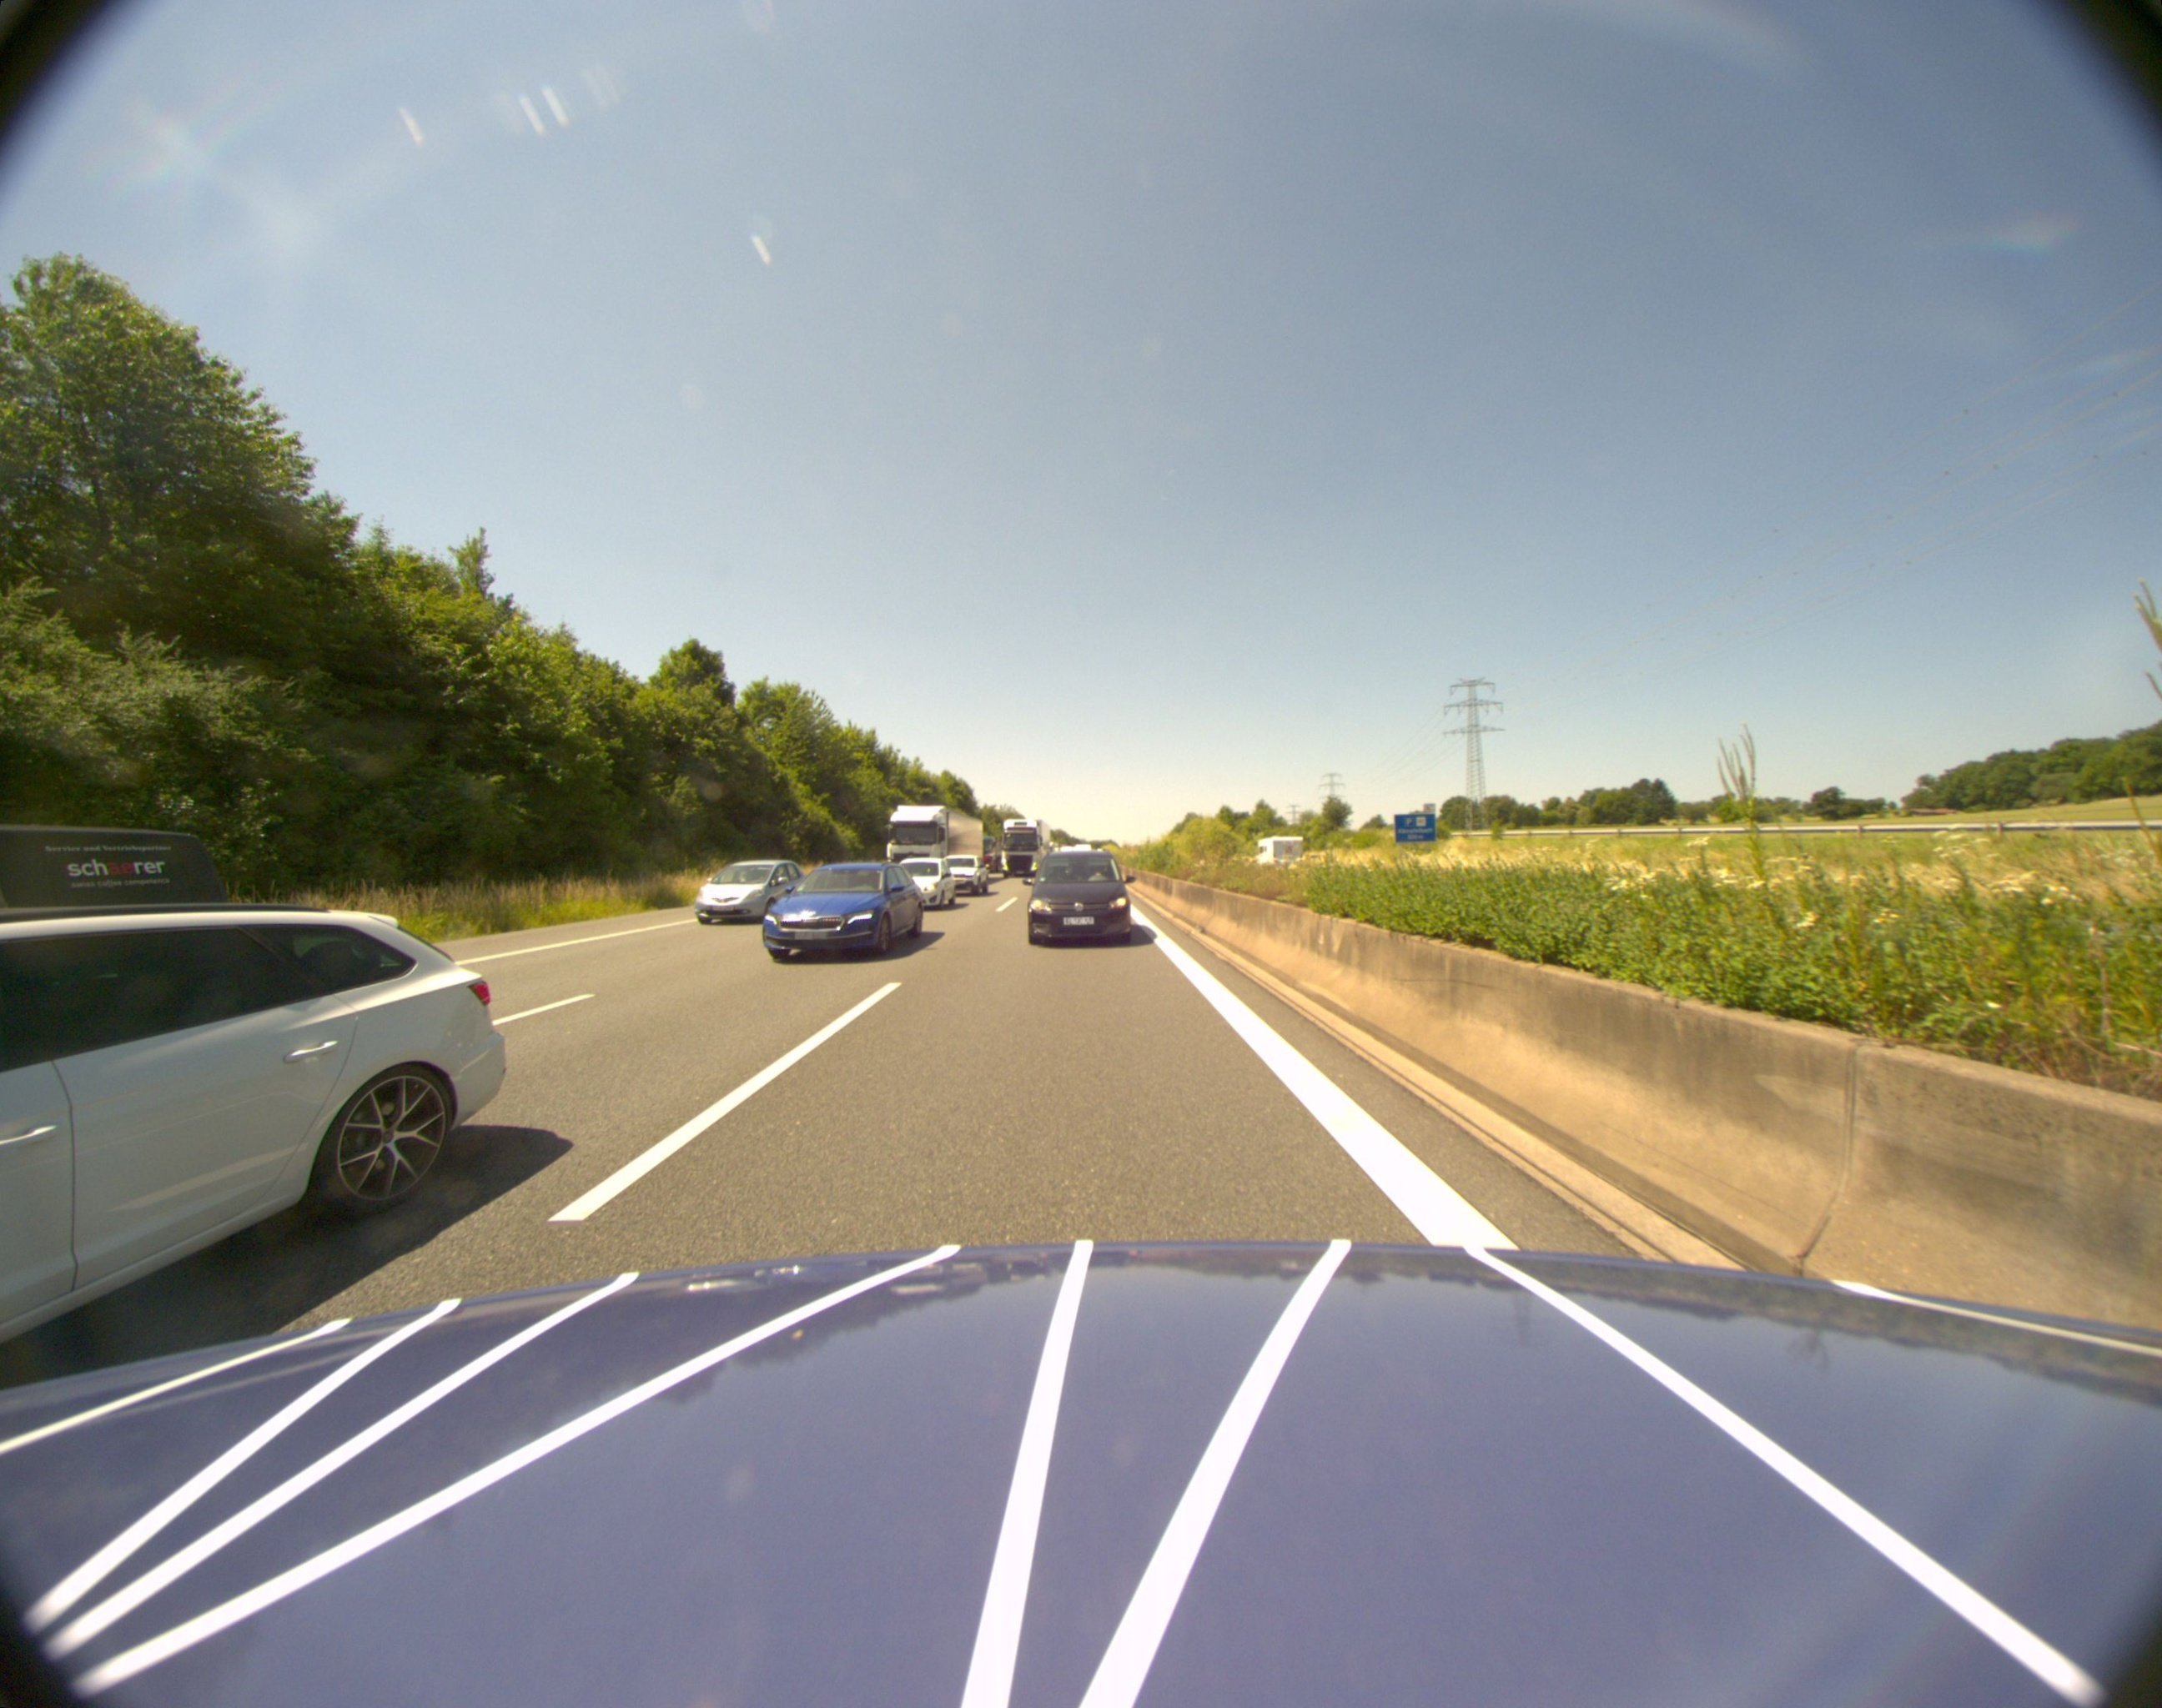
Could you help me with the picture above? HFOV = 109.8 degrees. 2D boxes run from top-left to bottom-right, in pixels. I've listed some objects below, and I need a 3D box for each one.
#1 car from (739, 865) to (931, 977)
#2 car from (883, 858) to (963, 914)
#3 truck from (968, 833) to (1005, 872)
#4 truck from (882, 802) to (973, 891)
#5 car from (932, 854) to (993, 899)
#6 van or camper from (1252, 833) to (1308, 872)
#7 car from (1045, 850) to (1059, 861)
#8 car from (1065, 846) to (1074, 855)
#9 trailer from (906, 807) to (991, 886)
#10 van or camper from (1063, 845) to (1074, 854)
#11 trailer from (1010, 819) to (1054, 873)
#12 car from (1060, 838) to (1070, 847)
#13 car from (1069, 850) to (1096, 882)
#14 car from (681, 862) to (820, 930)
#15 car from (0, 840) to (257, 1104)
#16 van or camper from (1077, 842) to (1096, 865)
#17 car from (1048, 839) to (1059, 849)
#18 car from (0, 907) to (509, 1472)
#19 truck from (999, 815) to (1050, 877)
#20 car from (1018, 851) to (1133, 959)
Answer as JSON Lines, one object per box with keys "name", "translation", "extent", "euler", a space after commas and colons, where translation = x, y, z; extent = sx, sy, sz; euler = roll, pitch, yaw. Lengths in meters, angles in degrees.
{"name": "car", "translation": [-3.911, 0.973, 12.987], "extent": [1.781, 1.408, 4.571], "euler": [-1, 1, 0]}
{"name": "car", "translation": [-4.601, 0.885, 22.617], "extent": [1.609, 1.426, 3.808], "euler": [-1, 1, -1]}
{"name": "truck", "translation": [-7.928, -0.146, 64.450], "extent": [2.300, 3.128, 5.674], "euler": [-2, 1, 1]}
{"name": "truck", "translation": [-7.926, -0.402, 40.437], "extent": [2.880, 4.133, 8.474], "euler": [-2, 1, 1]}
{"name": "car", "translation": [-4.524, 0.799, 29.449], "extent": [1.748, 1.549, 3.883], "euler": [-1, 1, 0]}
{"name": "van or camper", "translation": [15.639, -0.189, 60.209], "extent": [2.558, 2.822, 7.065], "euler": [-3, 1, 1]}
{"name": "car", "translation": [-3.864, 0.223, 101.486], "extent": [1.650, 1.336, 3.381], "euler": [-2, 1, 1]}
{"name": "car", "translation": [-2.210, -0.623, 148.134], "extent": [1.653, 1.636, 4.000], "euler": [-2, 1, 1]}
{"name": "trailer", "translation": [-7.822, -0.480, 46.829], "extent": [2.880, 4.133, 12.074], "euler": [-2, 1, 1]}
{"name": "van or camper", "translation": [-2.795, -1.004, 166.438], "extent": [2.190, 2.018, 4.363], "euler": [-2, 1, 1]}
{"name": "trailer", "translation": [-3.823, -0.673, 61.443], "extent": [2.776, 3.951, 9.155], "euler": [-2, 1, 1]}
{"name": "car", "translation": [-3.772, -2.661, 180.582], "extent": [1.998, 2.002, 3.999], "euler": [-2, 1, 1]}
{"name": "car", "translation": [0.101, 0.656, 42.471], "extent": [1.357, 1.630, 2.993], "euler": [-3, 1, 1]}
{"name": "car", "translation": [-8.187, 0.972, 19.225], "extent": [1.666, 1.453, 3.922], "euler": [-1, 0, 2]}
{"name": "car", "translation": [-8.888, 0.904, 4.828], "extent": [1.918, 1.929, 4.855], "euler": [-1, 1, 0]}
{"name": "van or camper", "translation": [0.605, -0.088, 85.653], "extent": [1.956, 2.368, 4.036], "euler": [-3, 1, 1]}
{"name": "car", "translation": [-5.562, -2.017, 154.541], "extent": [1.999, 2.002, 3.999], "euler": [-2, 1, 0]}
{"name": "car", "translation": [-3.957, 1.062, 1.890], "extent": [1.752, 1.435, 4.312], "euler": [-1, 1, 0]}
{"name": "truck", "translation": [-3.906, -0.592, 54.359], "extent": [2.750, 3.972, 8.359], "euler": [-2, 1, 1]}
{"name": "car", "translation": [-0.086, 0.798, 14.572], "extent": [1.758, 1.571, 5.290], "euler": [-1, 1, 0]}
